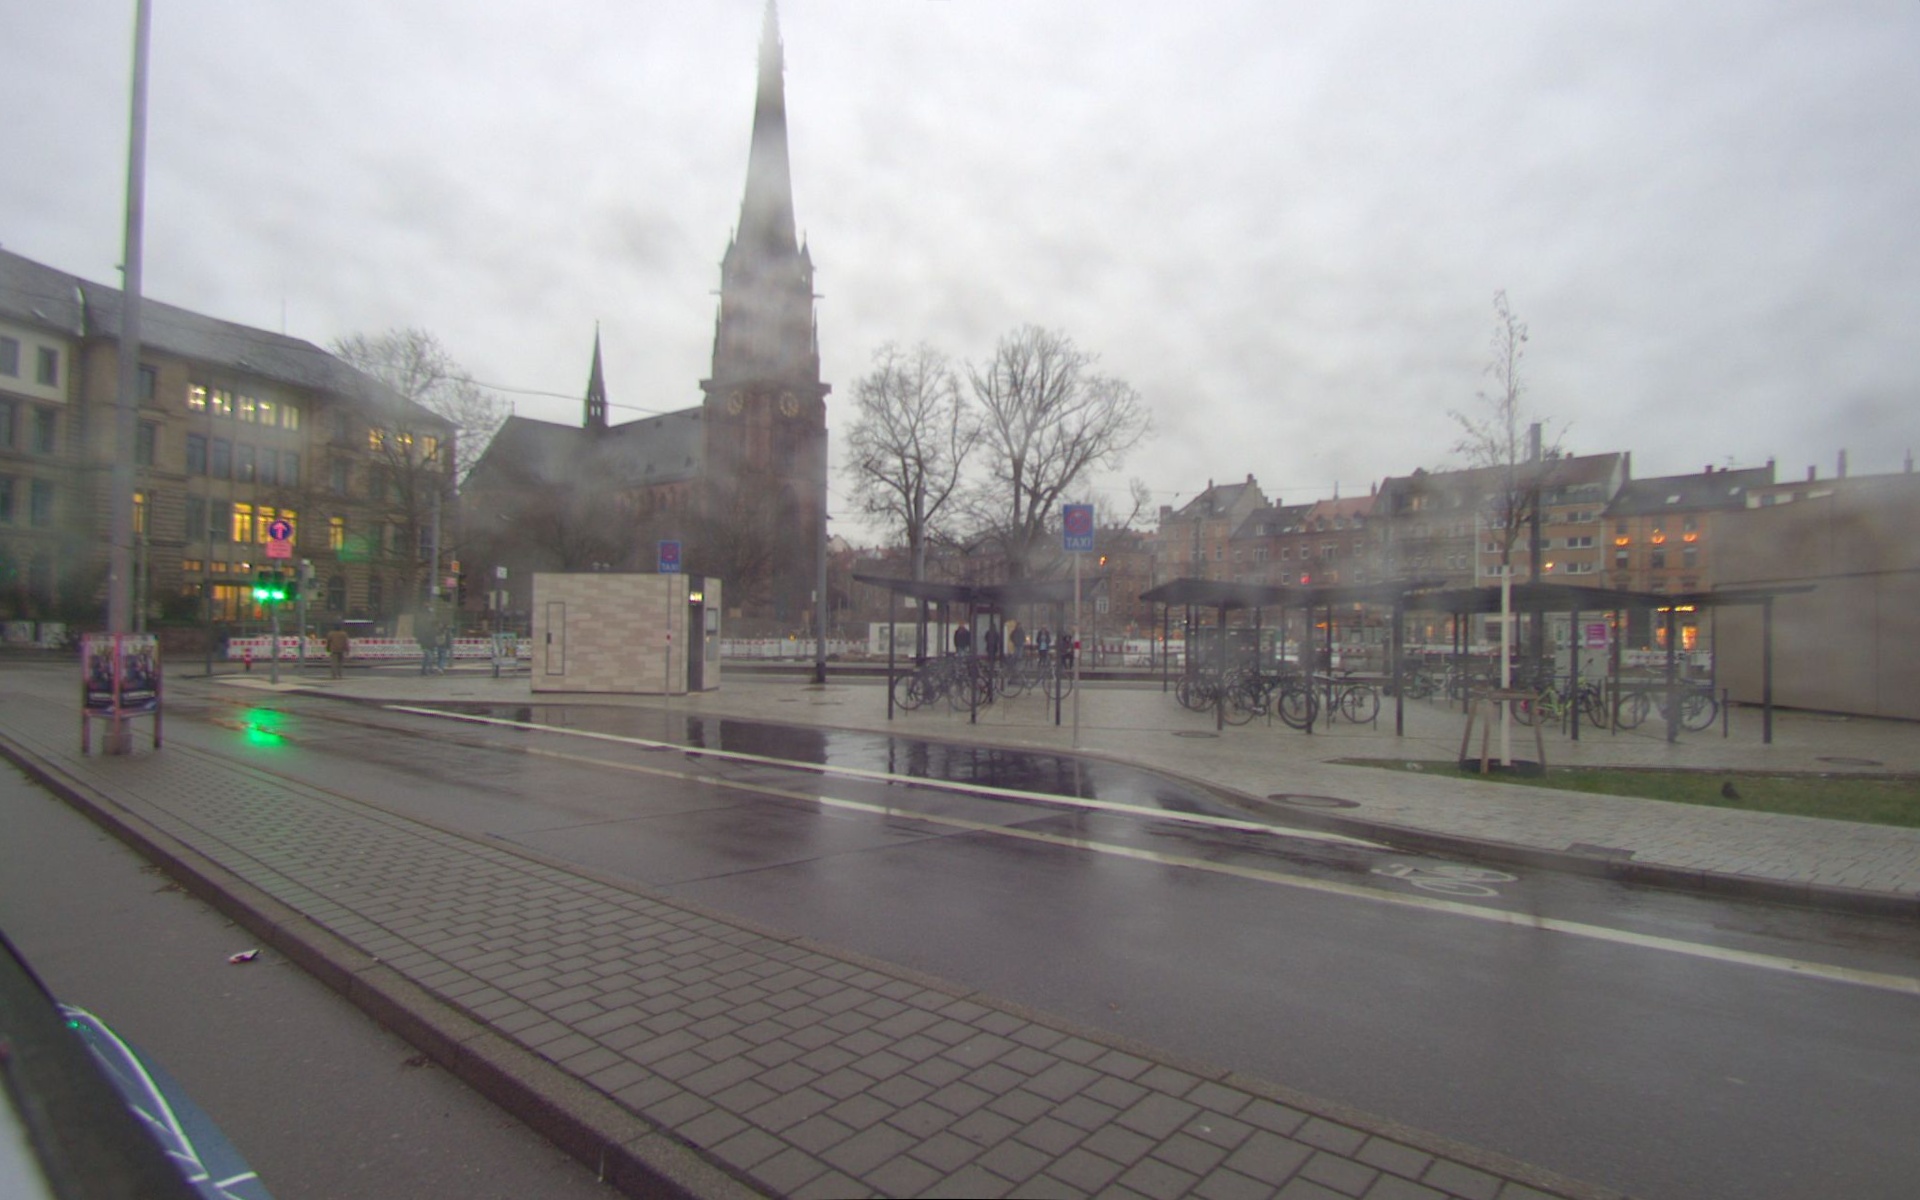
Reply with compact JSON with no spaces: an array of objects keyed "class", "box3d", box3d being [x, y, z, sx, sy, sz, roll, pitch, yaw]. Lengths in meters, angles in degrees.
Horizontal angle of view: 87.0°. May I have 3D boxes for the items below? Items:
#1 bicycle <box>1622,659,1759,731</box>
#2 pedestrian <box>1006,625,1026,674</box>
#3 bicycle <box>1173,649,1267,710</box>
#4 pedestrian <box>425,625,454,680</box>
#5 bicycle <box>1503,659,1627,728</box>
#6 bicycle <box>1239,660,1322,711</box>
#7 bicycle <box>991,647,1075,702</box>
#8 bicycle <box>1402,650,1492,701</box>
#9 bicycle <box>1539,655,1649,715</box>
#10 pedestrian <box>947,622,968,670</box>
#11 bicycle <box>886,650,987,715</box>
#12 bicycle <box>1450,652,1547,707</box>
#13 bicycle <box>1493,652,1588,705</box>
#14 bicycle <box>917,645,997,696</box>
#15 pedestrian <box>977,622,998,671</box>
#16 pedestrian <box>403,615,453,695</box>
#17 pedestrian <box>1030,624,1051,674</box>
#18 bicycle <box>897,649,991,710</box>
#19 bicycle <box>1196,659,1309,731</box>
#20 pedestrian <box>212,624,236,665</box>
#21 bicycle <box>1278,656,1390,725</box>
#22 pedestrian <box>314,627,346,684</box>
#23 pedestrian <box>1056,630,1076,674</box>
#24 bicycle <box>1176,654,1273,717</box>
[{"class":"bicycle","box3d":[12.980,1.671,18.022,1.880,1.174,0.548,1,0,14]},{"class":"pedestrian","box3d":[2.124,1.849,38.141,0.709,1.820,0.713,1,-1,7]},{"class":"bicycle","box3d":[5.481,1.668,21.391,1.879,1.174,0.548,1,0,12]},{"class":"pedestrian","box3d":[-17.996,1.790,34.981,0.596,1.827,0.826,-3,1,-44]},{"class":"bicycle","box3d":[11.193,1.715,18.769,1.879,1.174,0.548,1,0,12]},{"class":"bicycle","box3d":[7.891,2.099,24.988,1.879,1.174,0.548,1,0,12]},{"class":"bicycle","box3d":[1.683,1.713,23.342,1.879,1.174,0.548,1,0,12]},{"class":"bicycle","box3d":[11.935,1.839,24.834,1.879,1.174,0.548,1,0,12]},{"class":"bicycle","box3d":[13.453,1.790,21.517,1.879,1.174,0.548,1,0,12]},{"class":"pedestrian","box3d":[-0.091,1.749,38.446,0.709,1.770,0.713,1,-1,7]},{"class":"bicycle","box3d":[-0.458,1.613,19.878,1.922,1.174,0.548,1,0,12]},{"class":"bicycle","box3d":[12.502,1.832,23.531,1.879,1.174,0.548,1,0,12]},{"class":"bicycle","box3d":[13.946,1.871,24.359,1.879,1.174,0.548,1,0,12]},{"class":"bicycle","box3d":[-0.070,1.726,24.961,1.879,1.174,0.548,1,0,12]},{"class":"pedestrian","box3d":[1.050,1.766,38.301,0.709,1.820,0.713,1,-1,7]},{"class":"pedestrian","box3d":[-16.373,1.660,31.133,1.062,2.388,0.984,1,0,37]},{"class":"pedestrian","box3d":[3.028,1.822,38.030,0.709,1.820,0.713,1,-1,7]},{"class":"bicycle","box3d":[-0.327,1.633,21.065,1.879,1.174,0.548,1,0,12]},{"class":"bicycle","box3d":[5.194,1.671,18.057,1.879,1.174,0.548,1,0,12]},{"class":"pedestrian","box3d":[-37.535,2.271,51.602,0.732,2.029,0.645,1,0,1]},{"class":"bicycle","box3d":[6.948,1.676,18.881,1.879,1.174,0.548,1,0,12]},{"class":"pedestrian","box3d":[-19.384,1.698,31.133,0.663,1.687,0.732,1,0,-17]},{"class":"pedestrian","box3d":[4.010,1.954,38.220,0.709,1.630,0.713,1,-1,7]},{"class":"bicycle","box3d":[5.370,1.734,20.636,1.879,1.174,0.548,1,0,12]}]
